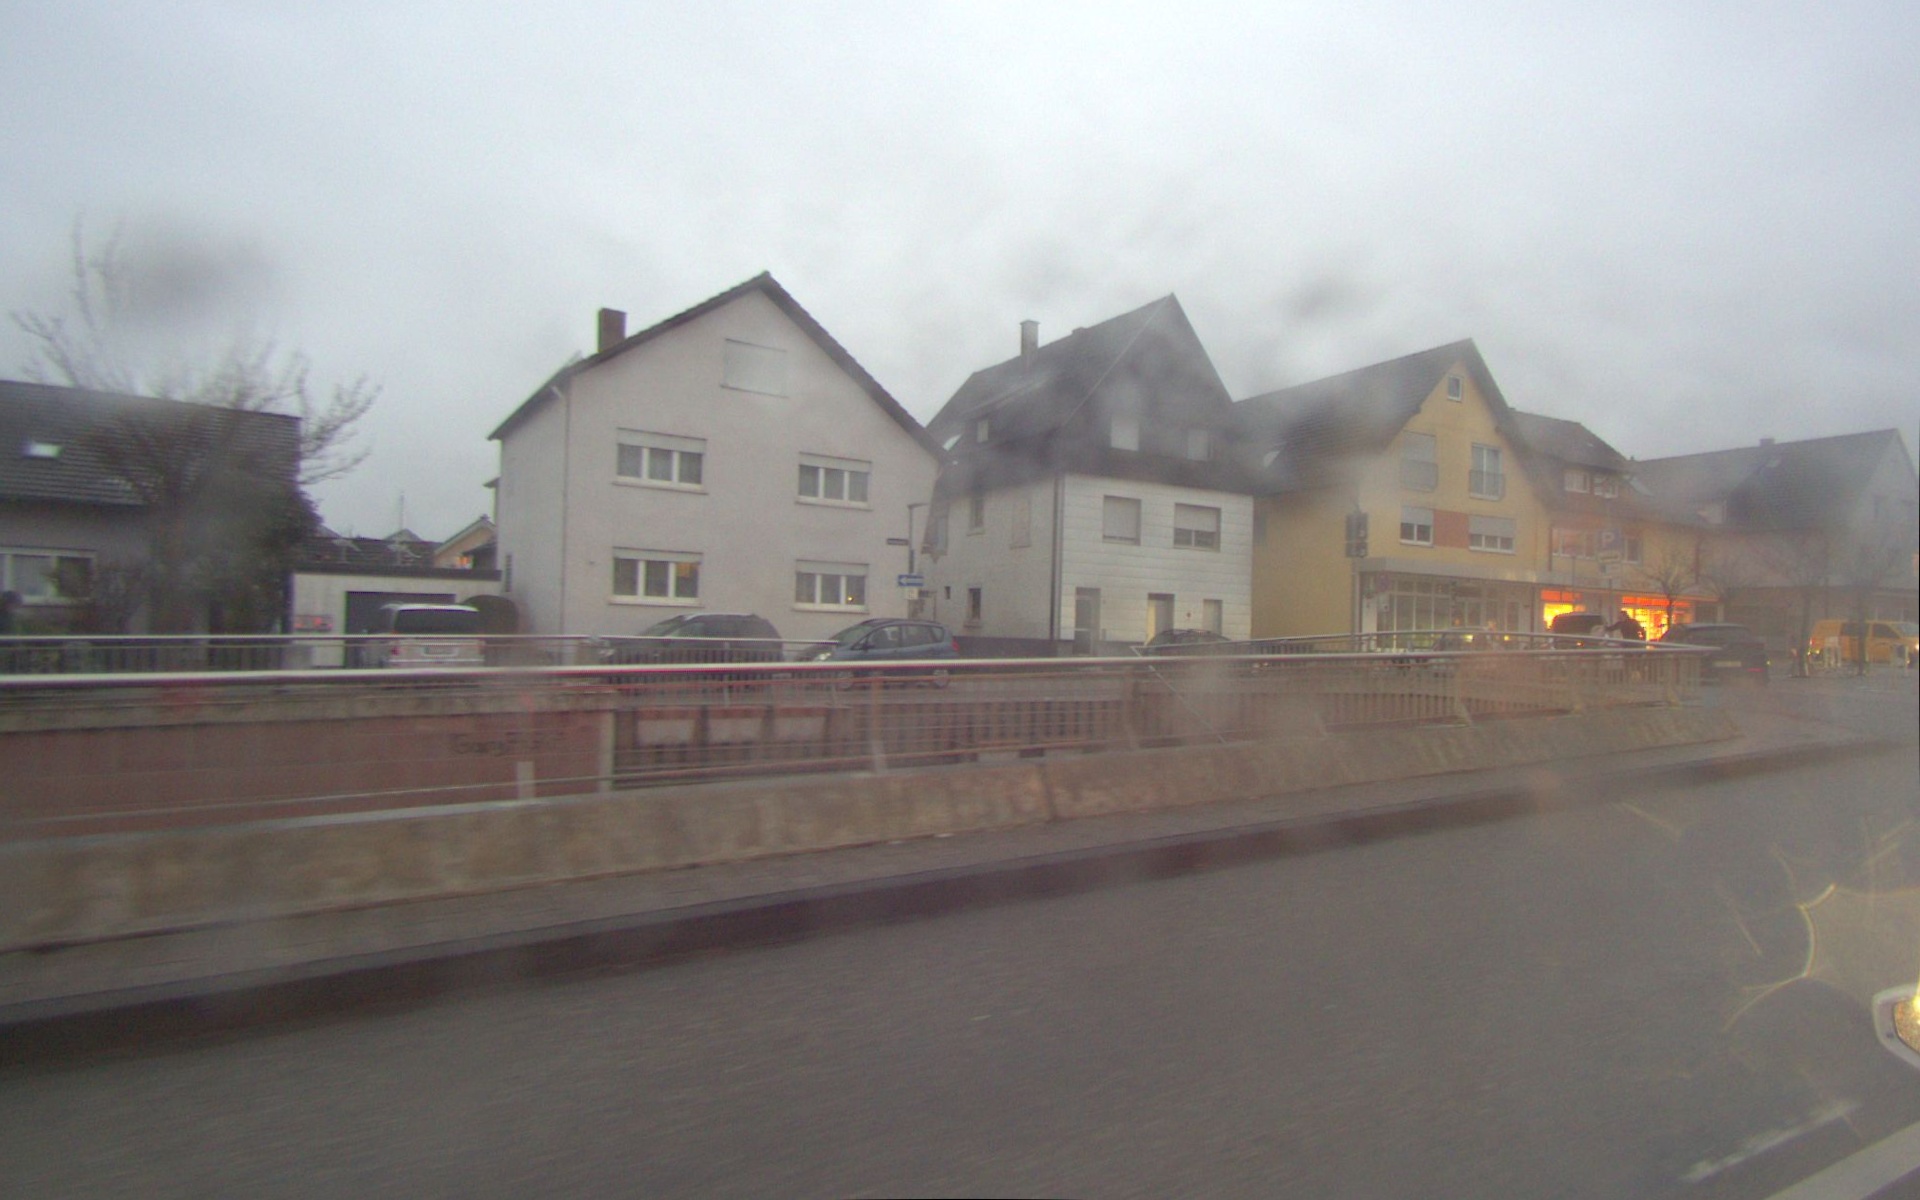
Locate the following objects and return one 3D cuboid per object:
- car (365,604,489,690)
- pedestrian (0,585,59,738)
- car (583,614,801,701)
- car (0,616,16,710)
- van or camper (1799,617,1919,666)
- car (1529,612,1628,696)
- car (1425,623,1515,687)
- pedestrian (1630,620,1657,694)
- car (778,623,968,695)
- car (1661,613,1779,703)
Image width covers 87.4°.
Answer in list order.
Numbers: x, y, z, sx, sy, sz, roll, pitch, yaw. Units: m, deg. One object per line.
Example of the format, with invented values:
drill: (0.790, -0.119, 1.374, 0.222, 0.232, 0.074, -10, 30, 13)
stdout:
car: (-11.868, 1.023, 22.238, 1.847, 1.716, 3.959, 1, -2, -37)
pedestrian: (-11.668, 0.718, 12.152, 0.963, 1.808, 0.922, 2, 0, -33)
car: (-5.752, 1.189, 21.729, 4.176, 1.705, 1.898, 1, -1, -35)
car: (-16.235, 0.910, 14.595, 3.425, 1.446, 1.472, 3, -2, -35)
van or camper: (39.330, 1.746, 42.696, 1.967, 1.980, 5.532, 1, -1, -15)
car: (15.911, 1.318, 25.753, 2.010, 1.951, 4.045, 0, -1, 34)
car: (14.375, 1.488, 28.216, 1.797, 1.634, 4.045, 0, -1, 34)
pedestrian: (16.212, 1.338, 23.827, 0.489, 1.724, 0.711, -2, -2, 34)
car: (-2.059, 1.362, 24.197, 4.171, 1.583, 1.900, 1, -1, -32)
car: (18.020, 1.312, 23.995, 2.010, 1.951, 4.045, 0, -1, 34)
